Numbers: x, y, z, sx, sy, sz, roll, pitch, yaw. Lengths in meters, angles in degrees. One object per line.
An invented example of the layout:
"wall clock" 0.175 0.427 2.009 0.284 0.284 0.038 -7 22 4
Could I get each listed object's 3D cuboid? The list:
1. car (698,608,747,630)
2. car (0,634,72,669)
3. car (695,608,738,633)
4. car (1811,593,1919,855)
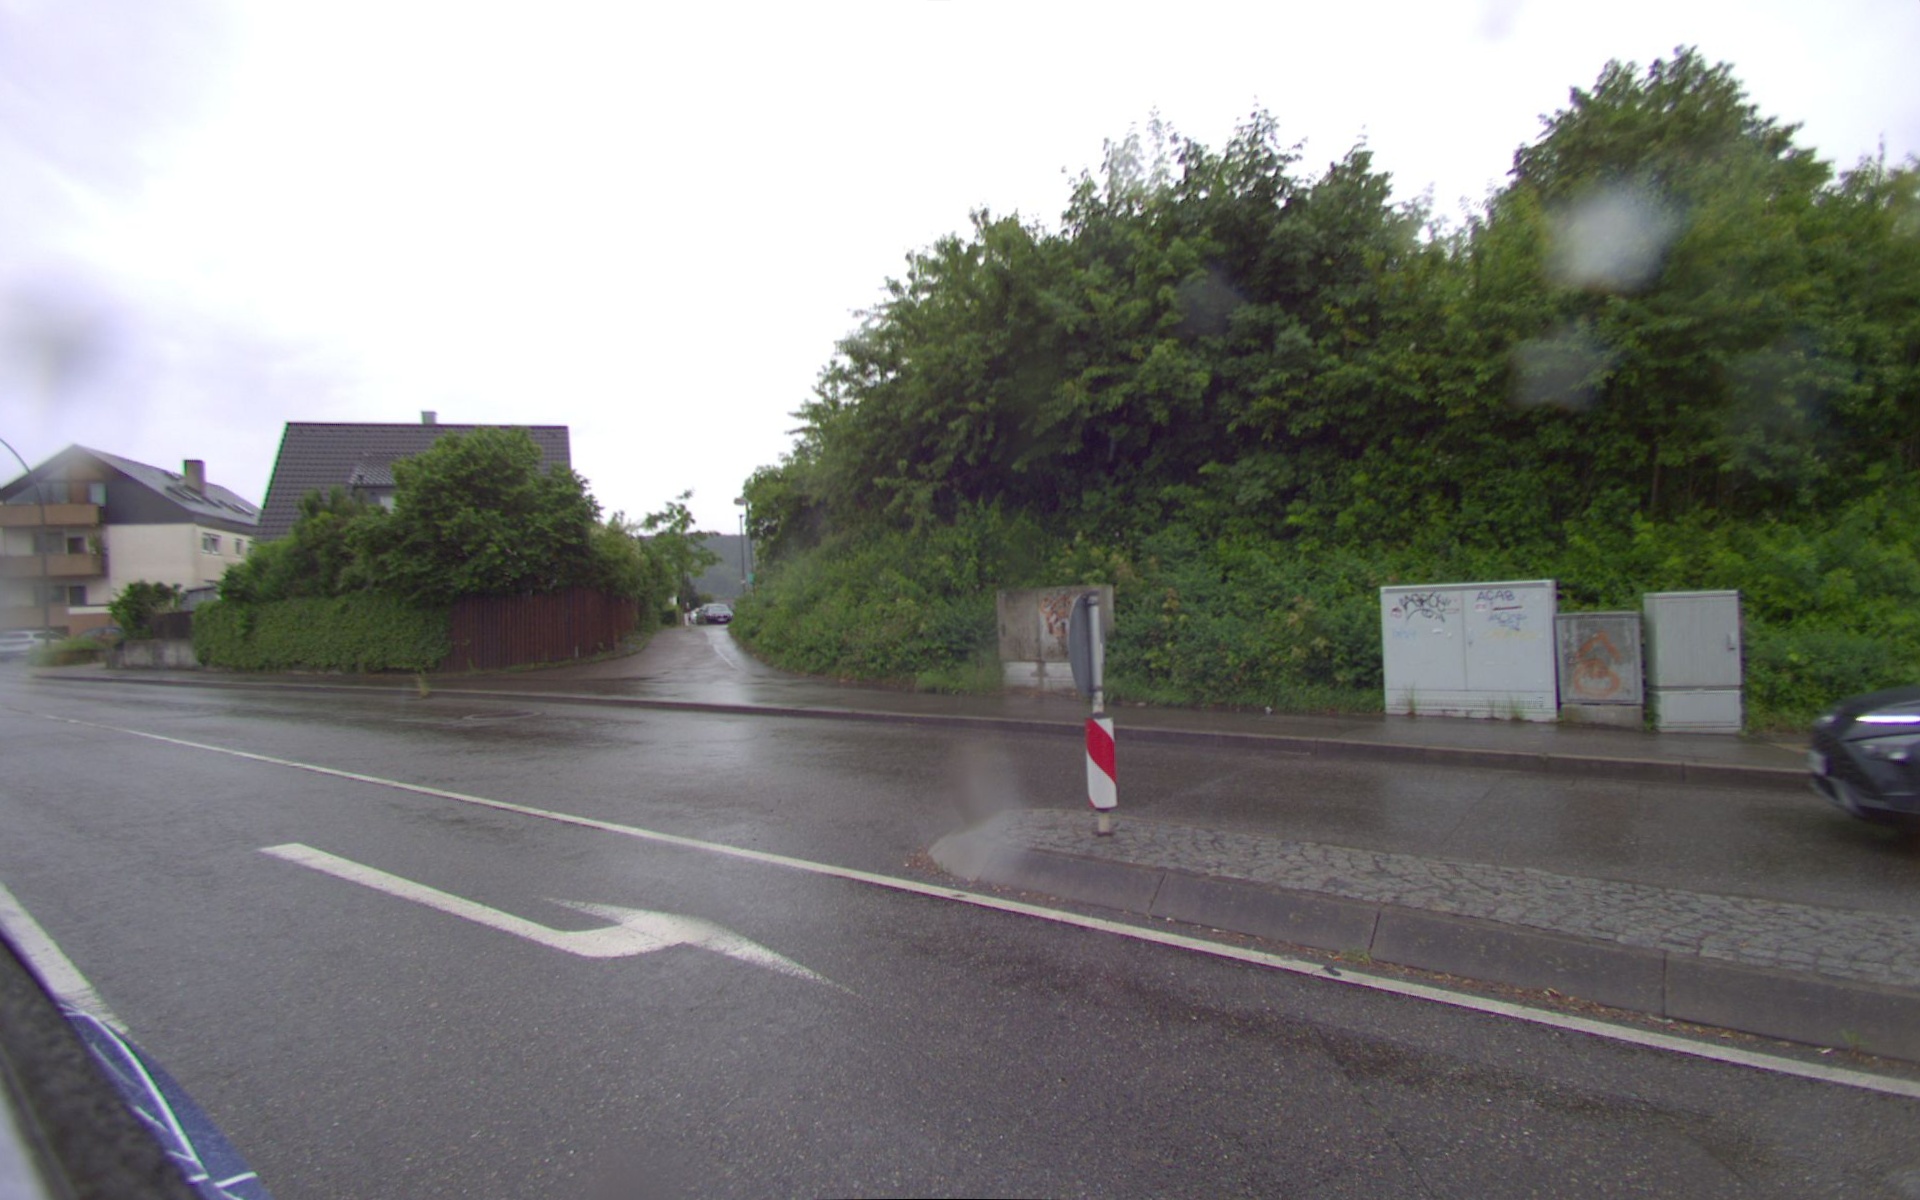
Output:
"car" -17.312 1.359 73.626 1.967 1.497 4.009 -1 0 -37
"car" -46.701 2.553 50.767 1.638 1.558 4.011 -1 0 -15
"car" -15.888 1.349 65.938 1.867 1.494 4.013 -1 -1 -26
"car" 7.286 0.685 5.312 4.095 1.449 1.651 -1 -2 33
